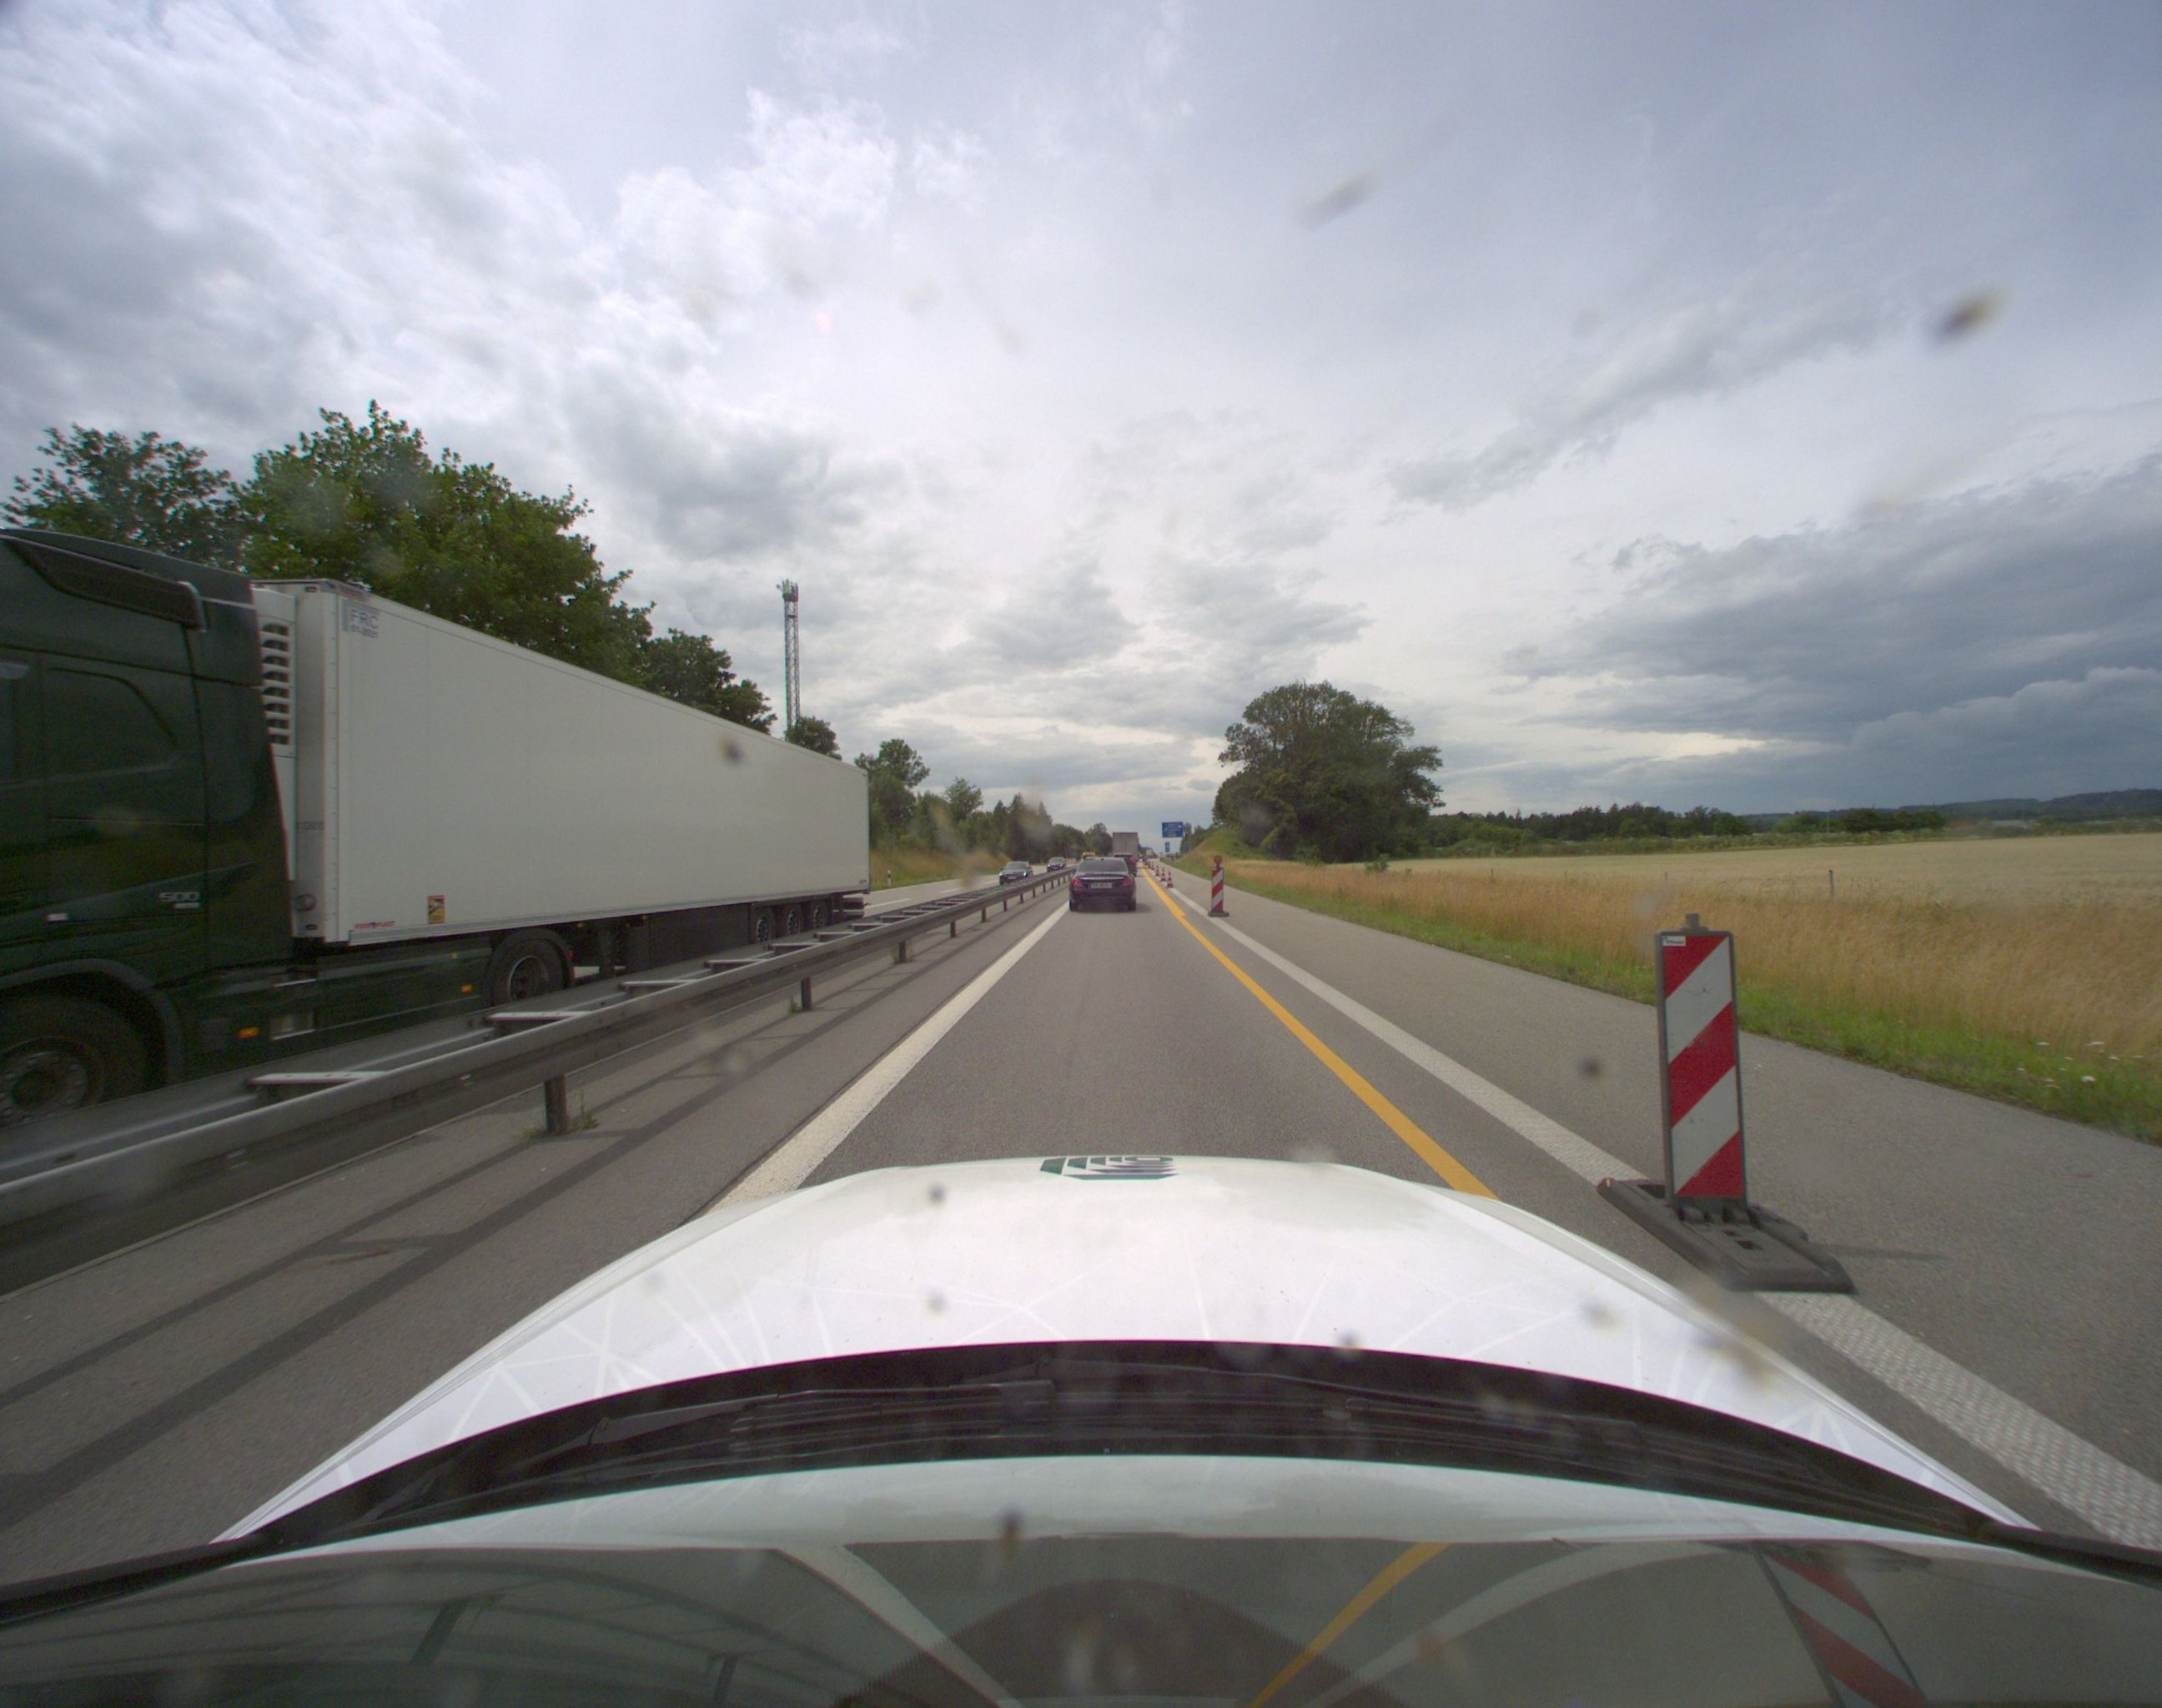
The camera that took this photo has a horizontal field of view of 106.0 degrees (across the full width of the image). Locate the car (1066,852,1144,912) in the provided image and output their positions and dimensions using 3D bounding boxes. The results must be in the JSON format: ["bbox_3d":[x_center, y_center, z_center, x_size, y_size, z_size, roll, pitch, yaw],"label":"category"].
[{"bbox_3d":[0.771,0.758,23.190,1.786,1.560,4.008,0,-1,8],"label":"car"}]

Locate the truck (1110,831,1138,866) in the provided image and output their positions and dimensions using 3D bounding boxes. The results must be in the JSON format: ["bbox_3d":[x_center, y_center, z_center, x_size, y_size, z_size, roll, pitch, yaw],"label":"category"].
[{"bbox_3d":[4.411,-0.551,84.115,2.578,3.525,4.811,0,-1,0],"label":"truck"}]

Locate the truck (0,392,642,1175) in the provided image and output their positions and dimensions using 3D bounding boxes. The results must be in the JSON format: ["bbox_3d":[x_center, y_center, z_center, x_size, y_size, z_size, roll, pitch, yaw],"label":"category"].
[{"bbox_3d":[-6.953,-0.337,6.642,2.629,4.170,6.990,0,-1,3],"label":"truck"}]

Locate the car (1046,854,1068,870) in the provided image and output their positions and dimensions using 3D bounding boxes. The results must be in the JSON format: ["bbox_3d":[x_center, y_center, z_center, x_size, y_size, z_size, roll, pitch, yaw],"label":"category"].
[{"bbox_3d":[-2.444,0.811,83.451,1.985,1.618,4.002,0,-1,2],"label":"car"}]

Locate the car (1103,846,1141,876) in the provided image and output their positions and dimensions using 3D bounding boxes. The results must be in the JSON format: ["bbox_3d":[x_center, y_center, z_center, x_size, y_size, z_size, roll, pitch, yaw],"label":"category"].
[{"bbox_3d":[2.799,0.477,56.486,1.992,2.014,3.989,0,-1,-8],"label":"car"}]

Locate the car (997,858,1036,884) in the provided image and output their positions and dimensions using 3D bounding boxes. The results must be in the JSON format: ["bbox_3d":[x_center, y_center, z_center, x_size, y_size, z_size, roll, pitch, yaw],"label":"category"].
[{"bbox_3d":[-4.039,1.065,51.741,1.985,1.618,4.002,0,-1,2],"label":"car"}]

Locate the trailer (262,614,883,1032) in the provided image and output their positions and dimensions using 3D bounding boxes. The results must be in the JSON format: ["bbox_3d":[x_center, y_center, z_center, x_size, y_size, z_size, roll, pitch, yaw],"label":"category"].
[{"bbox_3d":[-6.574,-0.216,14.248,2.629,4.170,12.196,0,-1,3],"label":"trailer"}]
